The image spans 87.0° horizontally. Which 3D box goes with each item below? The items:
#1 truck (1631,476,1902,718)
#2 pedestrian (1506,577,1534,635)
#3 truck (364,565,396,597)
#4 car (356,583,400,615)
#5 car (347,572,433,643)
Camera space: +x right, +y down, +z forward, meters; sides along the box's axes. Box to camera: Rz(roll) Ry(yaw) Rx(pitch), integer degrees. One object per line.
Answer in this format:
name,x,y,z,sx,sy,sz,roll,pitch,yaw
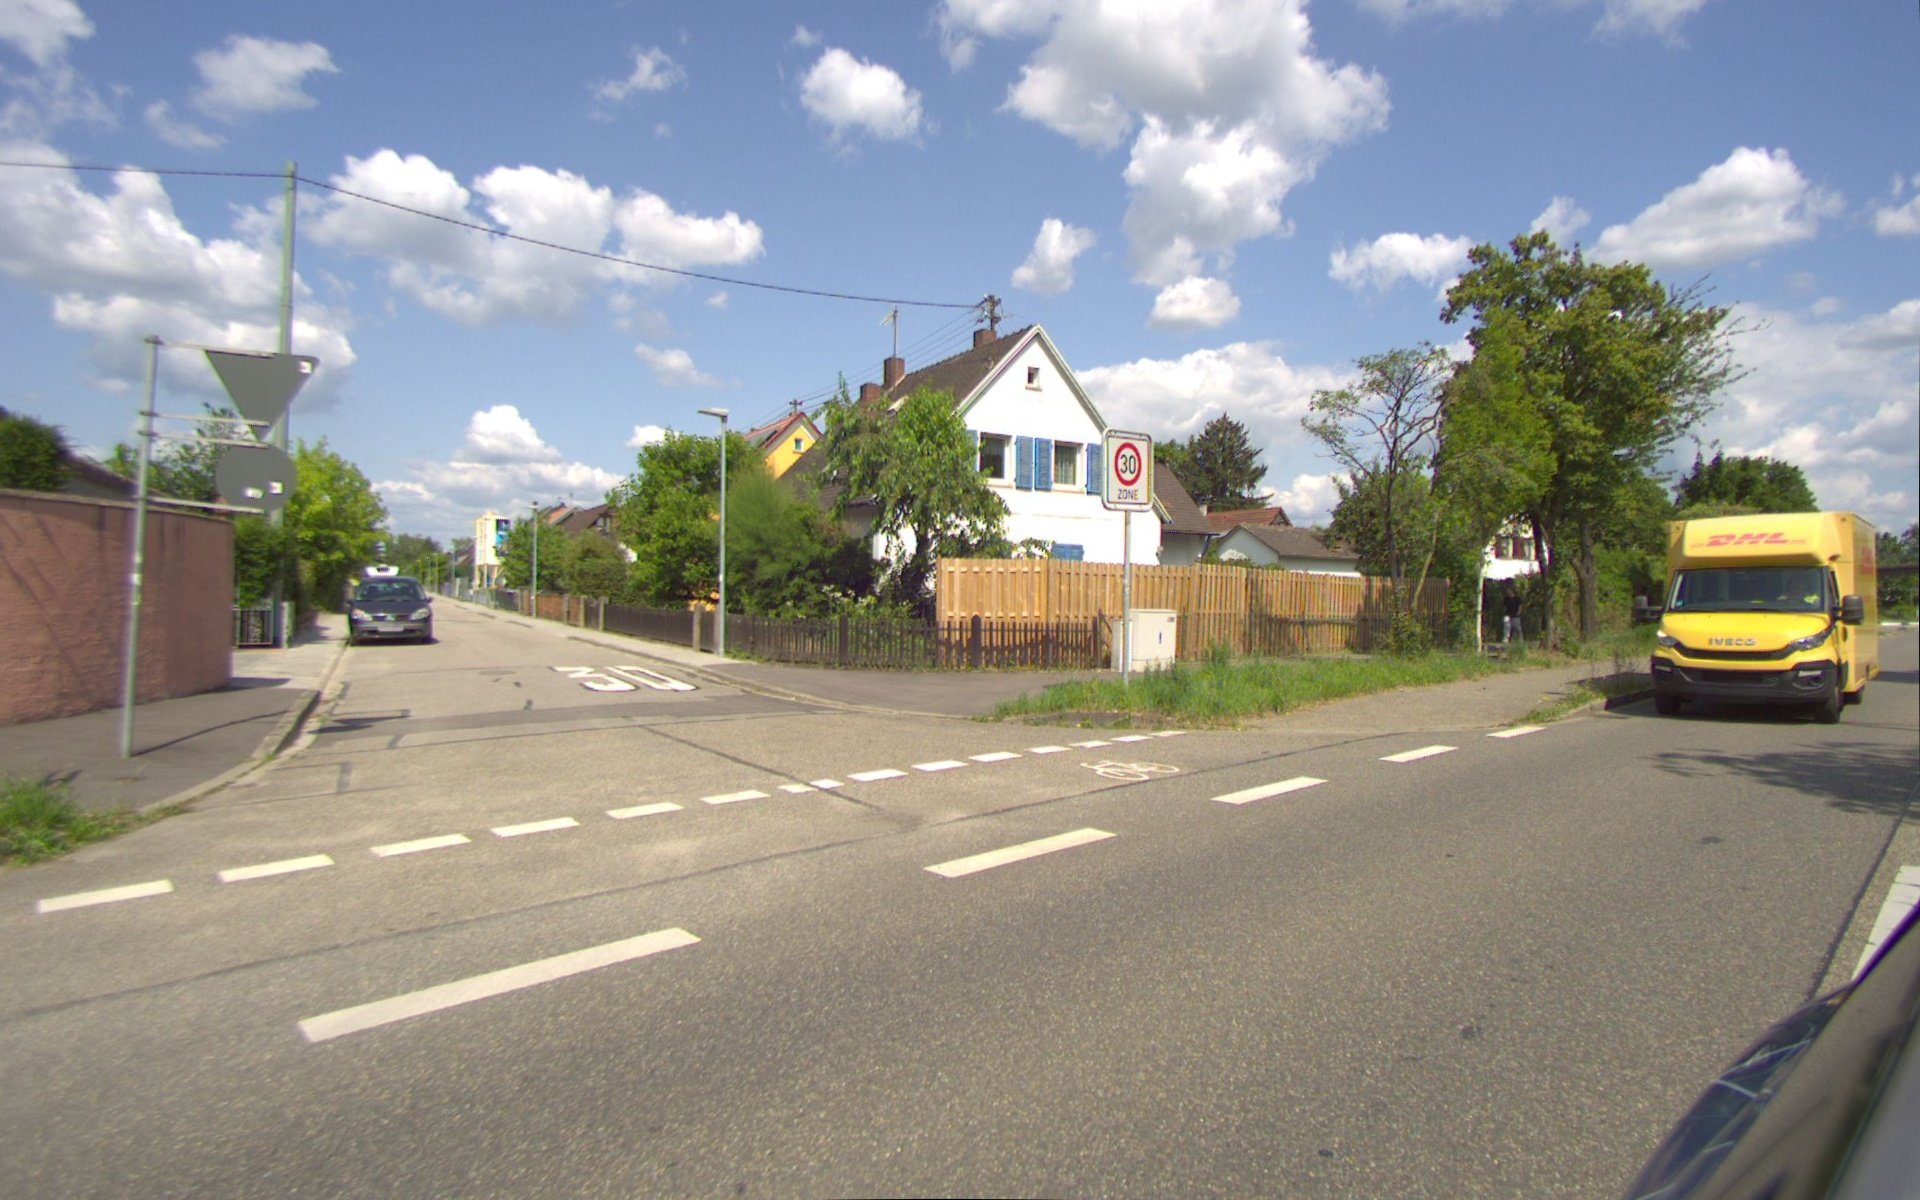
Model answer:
truck,12.828,0.015,15.778,7.893,2.918,2.266,1,-2,-44
pedestrian,16.543,0.165,29.915,0.623,1.698,0.560,0,0,-43
truck,-49.785,-1.591,86.811,2.234,2.681,4.856,0,1,-31
car,-26.745,-0.066,46.498,1.688,1.391,4.060,0,1,-30
car,-14.039,0.151,24.904,1.688,1.588,4.283,0,1,-30
